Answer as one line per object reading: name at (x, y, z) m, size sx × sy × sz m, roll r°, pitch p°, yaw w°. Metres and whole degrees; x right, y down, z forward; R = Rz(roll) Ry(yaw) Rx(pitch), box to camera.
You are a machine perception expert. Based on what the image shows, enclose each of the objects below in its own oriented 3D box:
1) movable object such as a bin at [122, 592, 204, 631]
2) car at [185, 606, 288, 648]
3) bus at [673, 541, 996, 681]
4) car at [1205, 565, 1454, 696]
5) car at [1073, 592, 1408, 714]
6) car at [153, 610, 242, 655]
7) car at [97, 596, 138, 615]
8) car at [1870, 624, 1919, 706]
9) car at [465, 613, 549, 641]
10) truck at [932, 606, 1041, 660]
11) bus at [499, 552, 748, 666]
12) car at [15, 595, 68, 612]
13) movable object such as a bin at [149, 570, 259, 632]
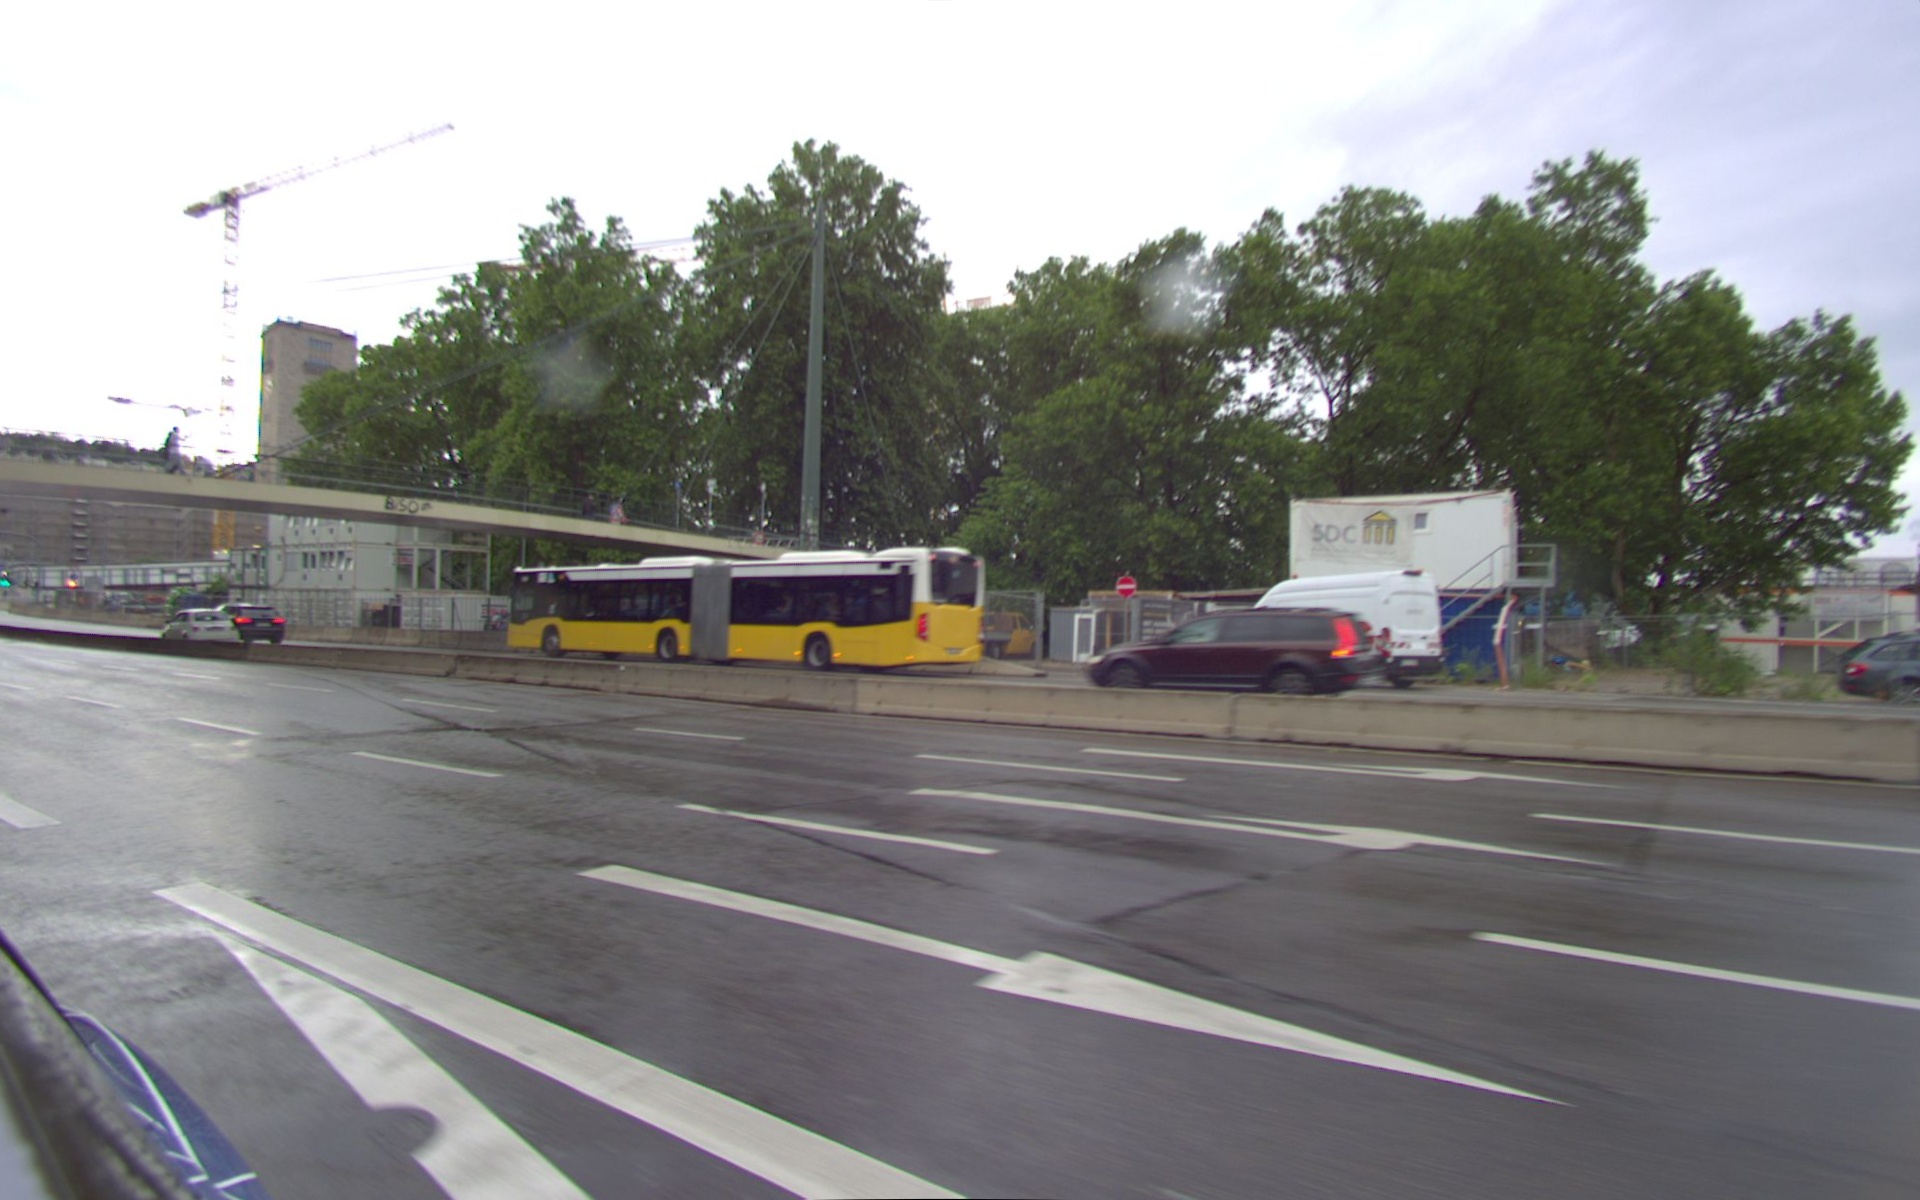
movable object such as a bin at (-70.914, 1.033, 90.036) m, size 6.370 × 3.152 × 3.900 m, roll 1°, pitch -2°, yaw 33°
car at (-30.343, 1.127, 42.416) m, size 4.843 × 1.643 × 2.063 m, roll -1°, pitch -2°, yaw 36°
bus at (-3.587, 0.294, 26.894) m, size 9.132 × 3.175 × 2.679 m, roll 0°, pitch -2°, yaw 36°
car at (9.026, 0.722, 25.482) m, size 1.965 × 2.897 × 6.071 m, roll 3°, pitch -1°, yaw -28°
car at (4.528, 0.788, 16.682) m, size 4.922 × 1.674 × 2.021 m, roll 1°, pitch -2°, yaw 35°
car at (-28.237, 1.192, 37.461) m, size 3.444 × 1.500 × 1.693 m, roll 1°, pitch -2°, yaw 37°
car at (-86.234, 0.513, 103.527) m, size 4.783 × 1.775 × 1.830 m, roll 1°, pitch -2°, yaw 33°
car at (20.387, 1.252, 19.421) m, size 4.169 × 1.577 × 1.745 m, roll -2°, pitch -3°, yaw 38°
car at (-25.994, 1.576, 58.180) m, size 1.995 × 1.454 × 3.954 m, roll 1°, pitch -2°, yaw 34°
truck at (1.155, 1.338, 40.984) m, size 2.156 × 2.029 × 5.209 m, roll 0°, pitch -2°, yaw 31°
bus at (-10.885, 0.292, 32.228) m, size 8.787 × 3.209 × 2.782 m, roll 0°, pitch -2°, yaw 35°
car at (-121.632, 0.479, 134.060) m, size 4.952 × 2.029 × 2.001 m, roll 2°, pitch -2°, yaw -3°
movable object such as a bin at (-63.468, 0.087, 84.958) m, size 8.336 × 4.839 × 4.711 m, roll 1°, pitch -2°, yaw 33°
